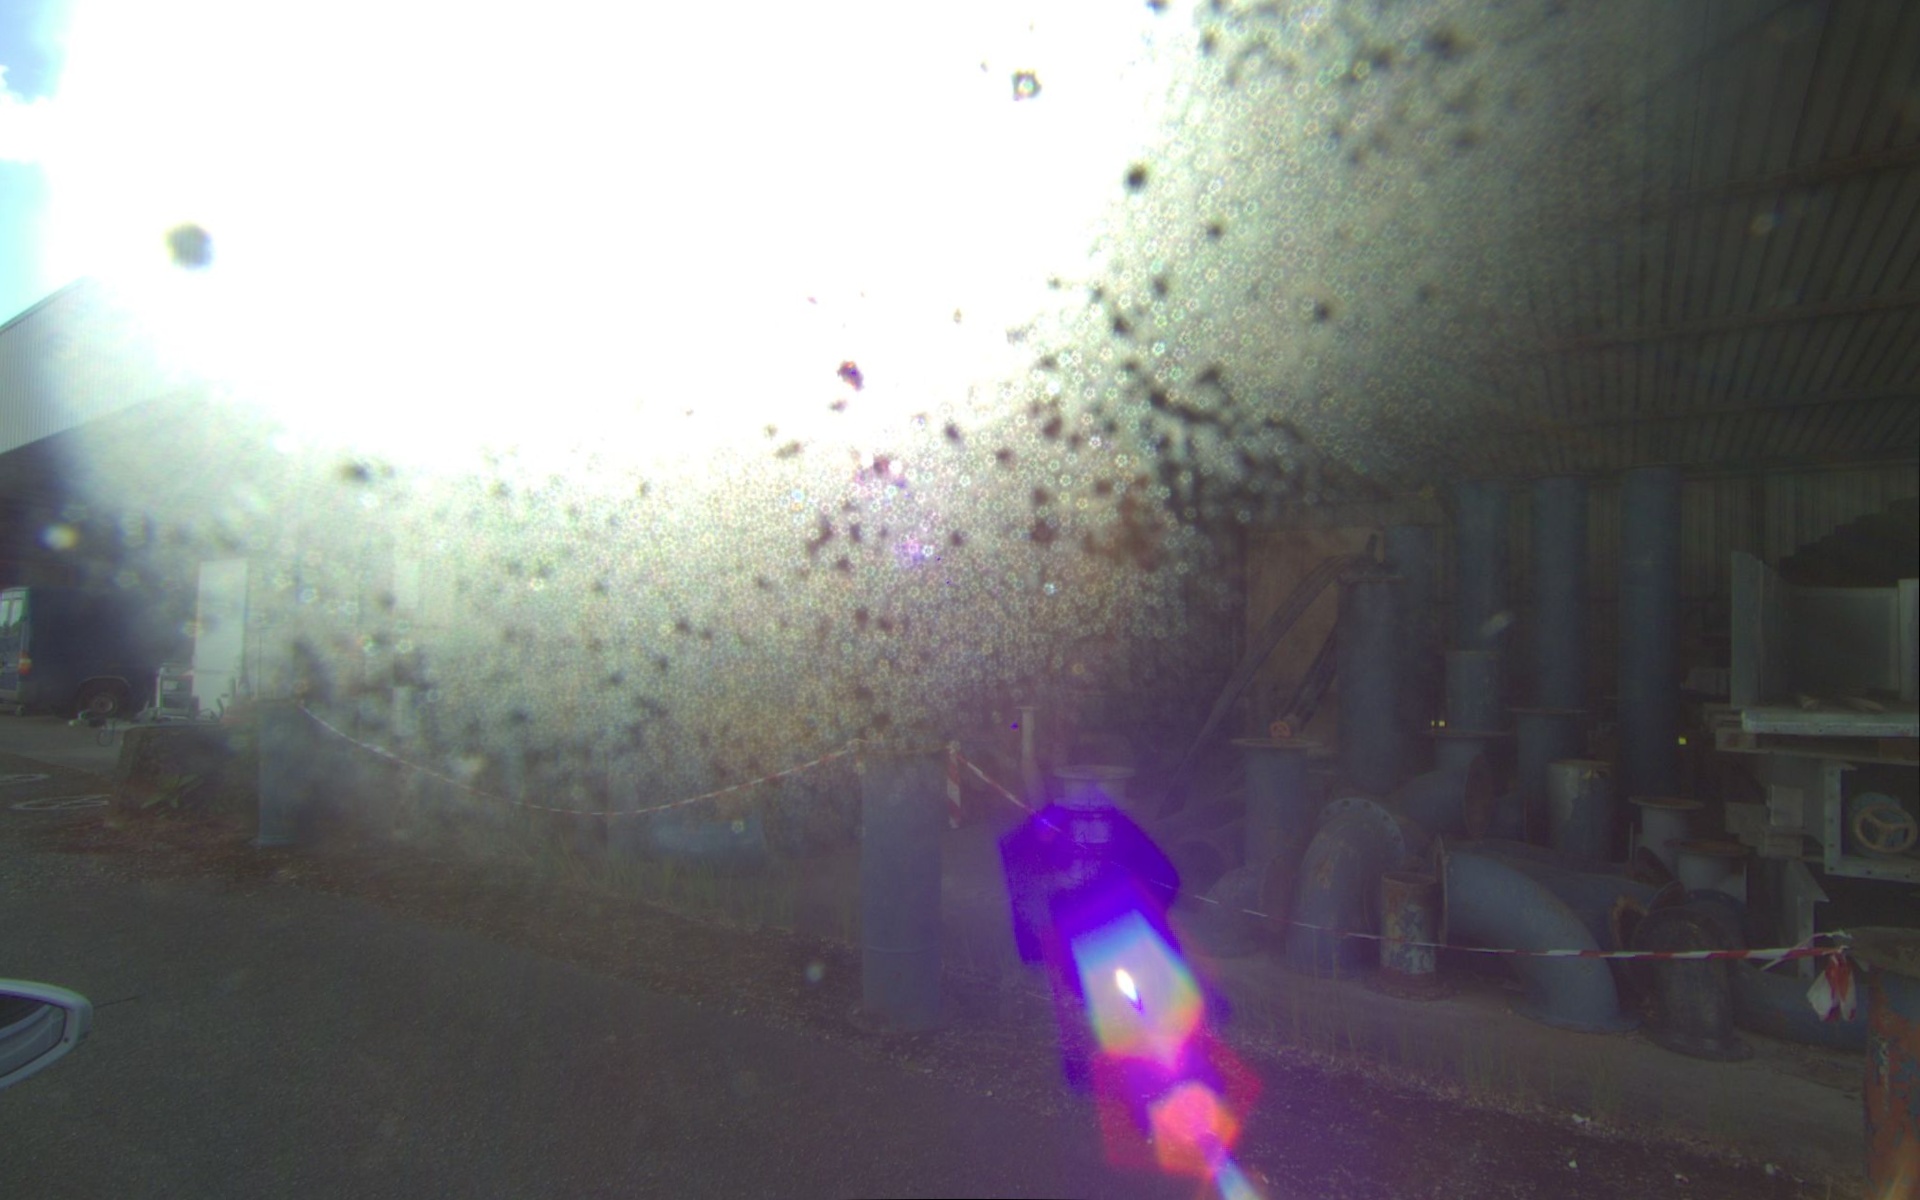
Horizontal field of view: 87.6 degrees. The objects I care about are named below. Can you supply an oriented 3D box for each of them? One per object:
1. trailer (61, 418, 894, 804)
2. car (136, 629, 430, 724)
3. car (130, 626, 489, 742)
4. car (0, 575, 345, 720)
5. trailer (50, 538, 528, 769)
[{"bbox_3d":[-5.041,0.327,13.423,2.814,3.256,10.019,-1,-3,34],"label":"trailer"},{"bbox_3d":[-11.905,1.311,17.904,1.761,1.491,3.985,-1,-3,29],"label":"car"},{"bbox_3d":[-9.806,1.216,15.485,1.751,1.514,4.324,-1,-3,31],"label":"car"},{"bbox_3d":[-14.754,0.910,18.898,1.973,2.354,4.969,-1,-3,34],"label":"car"},{"bbox_3d":[-8.359,0.677,12.956,1.804,2.421,4.796,-1,-3,38],"label":"trailer"}]
